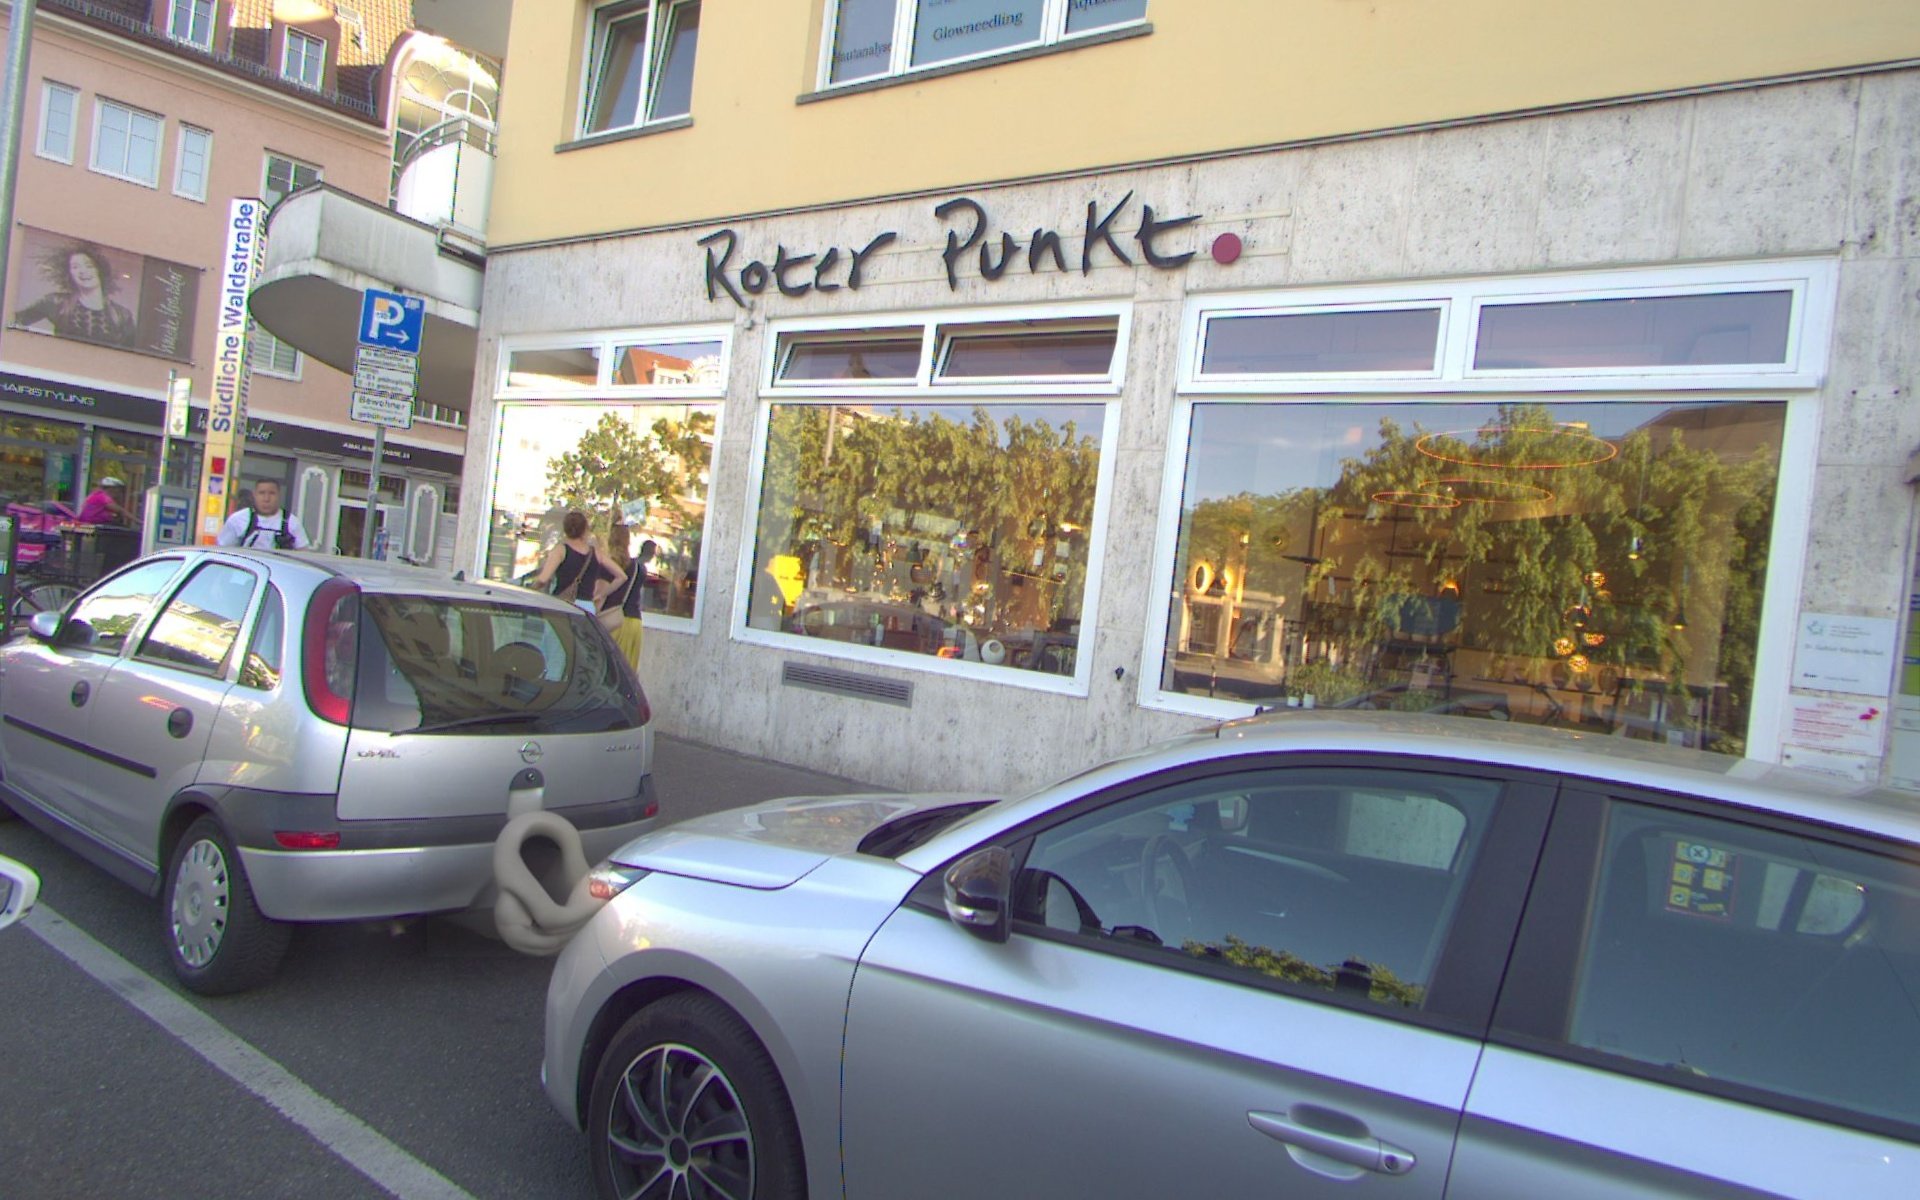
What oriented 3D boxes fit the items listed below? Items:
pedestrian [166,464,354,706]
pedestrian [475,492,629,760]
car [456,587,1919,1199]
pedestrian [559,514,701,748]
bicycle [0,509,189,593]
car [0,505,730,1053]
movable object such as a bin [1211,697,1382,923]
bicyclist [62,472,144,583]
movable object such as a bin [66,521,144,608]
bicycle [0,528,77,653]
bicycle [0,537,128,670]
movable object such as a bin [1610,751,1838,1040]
[{"bbox_3d":[-5.775,-0.117,8.307,0.967,1.844,0.809,6,-1,35],"label":"pedestrian"},{"bbox_3d":[-3.070,0.171,7.545,0.678,1.874,0.882,2,3,-45],"label":"pedestrian"},{"bbox_3d":[0.798,0.940,2.270,3.624,1.453,1.587,6,-2,30],"label":"car"},{"bbox_3d":[-2.686,0.240,8.178,0.718,1.777,0.778,3,2,-44],"label":"pedestrian"},{"bbox_3d":[-14.729,-0.801,17.132,0.702,1.165,2.388,6,0,38],"label":"bicycle"},{"bbox_3d":[-2.939,0.480,4.450,3.520,1.442,1.587,6,-2,32],"label":"car"},{"bbox_3d":[1.842,1.093,5.465,0.639,1.035,0.738,6,-1,31],"label":"movable object such as a bin"},{"bbox_3d":[-14.640,-1.227,17.185,0.671,1.777,0.863,6,1,40],"label":"bicyclist"},{"bbox_3d":[-11.947,-0.493,14.060,0.716,1.117,0.636,7,2,35],"label":"movable object such as a bin"},{"bbox_3d":[-9.038,-0.155,8.786,0.642,1.072,1.816,7,-1,33],"label":"bicycle"},{"bbox_3d":[-8.147,-0.001,8.242,0.642,1.057,1.884,7,0,33],"label":"bicycle"},{"bbox_3d":[3.391,1.262,4.535,0.639,1.035,0.738,6,-1,31],"label":"movable object such as a bin"}]
